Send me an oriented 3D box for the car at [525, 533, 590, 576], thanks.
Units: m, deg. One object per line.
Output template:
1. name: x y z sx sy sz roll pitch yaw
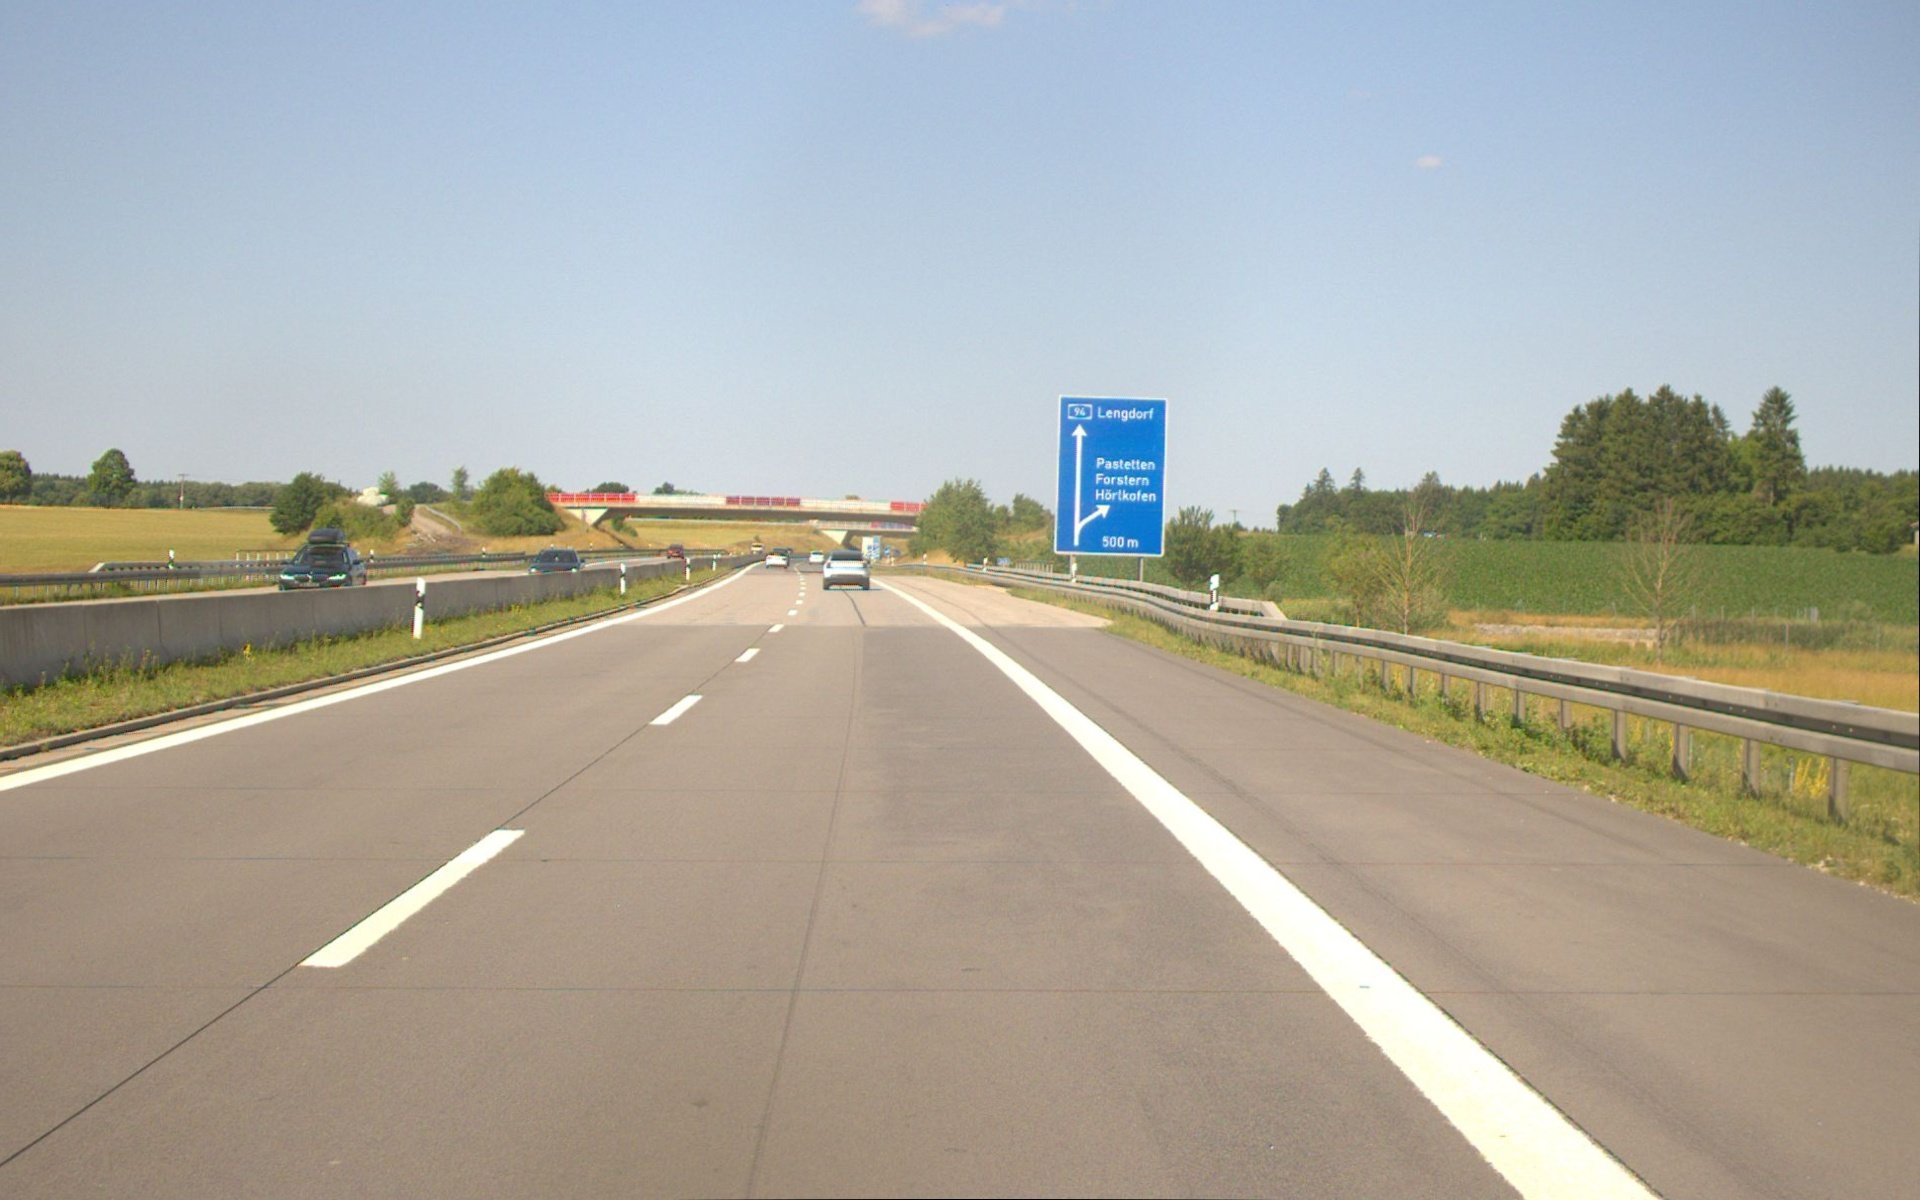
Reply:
1. car: -14.343 -1.643 122.597 1.898 1.518 4.806 0 1 -2

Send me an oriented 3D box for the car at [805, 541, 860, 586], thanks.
1. car: -5.119 -1.474 137.343 1.993 1.725 4.870 1 1 -4

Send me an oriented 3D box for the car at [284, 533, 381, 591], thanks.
1. car: -17.001 -1.054 93.339 1.898 1.518 4.806 0 1 -2
